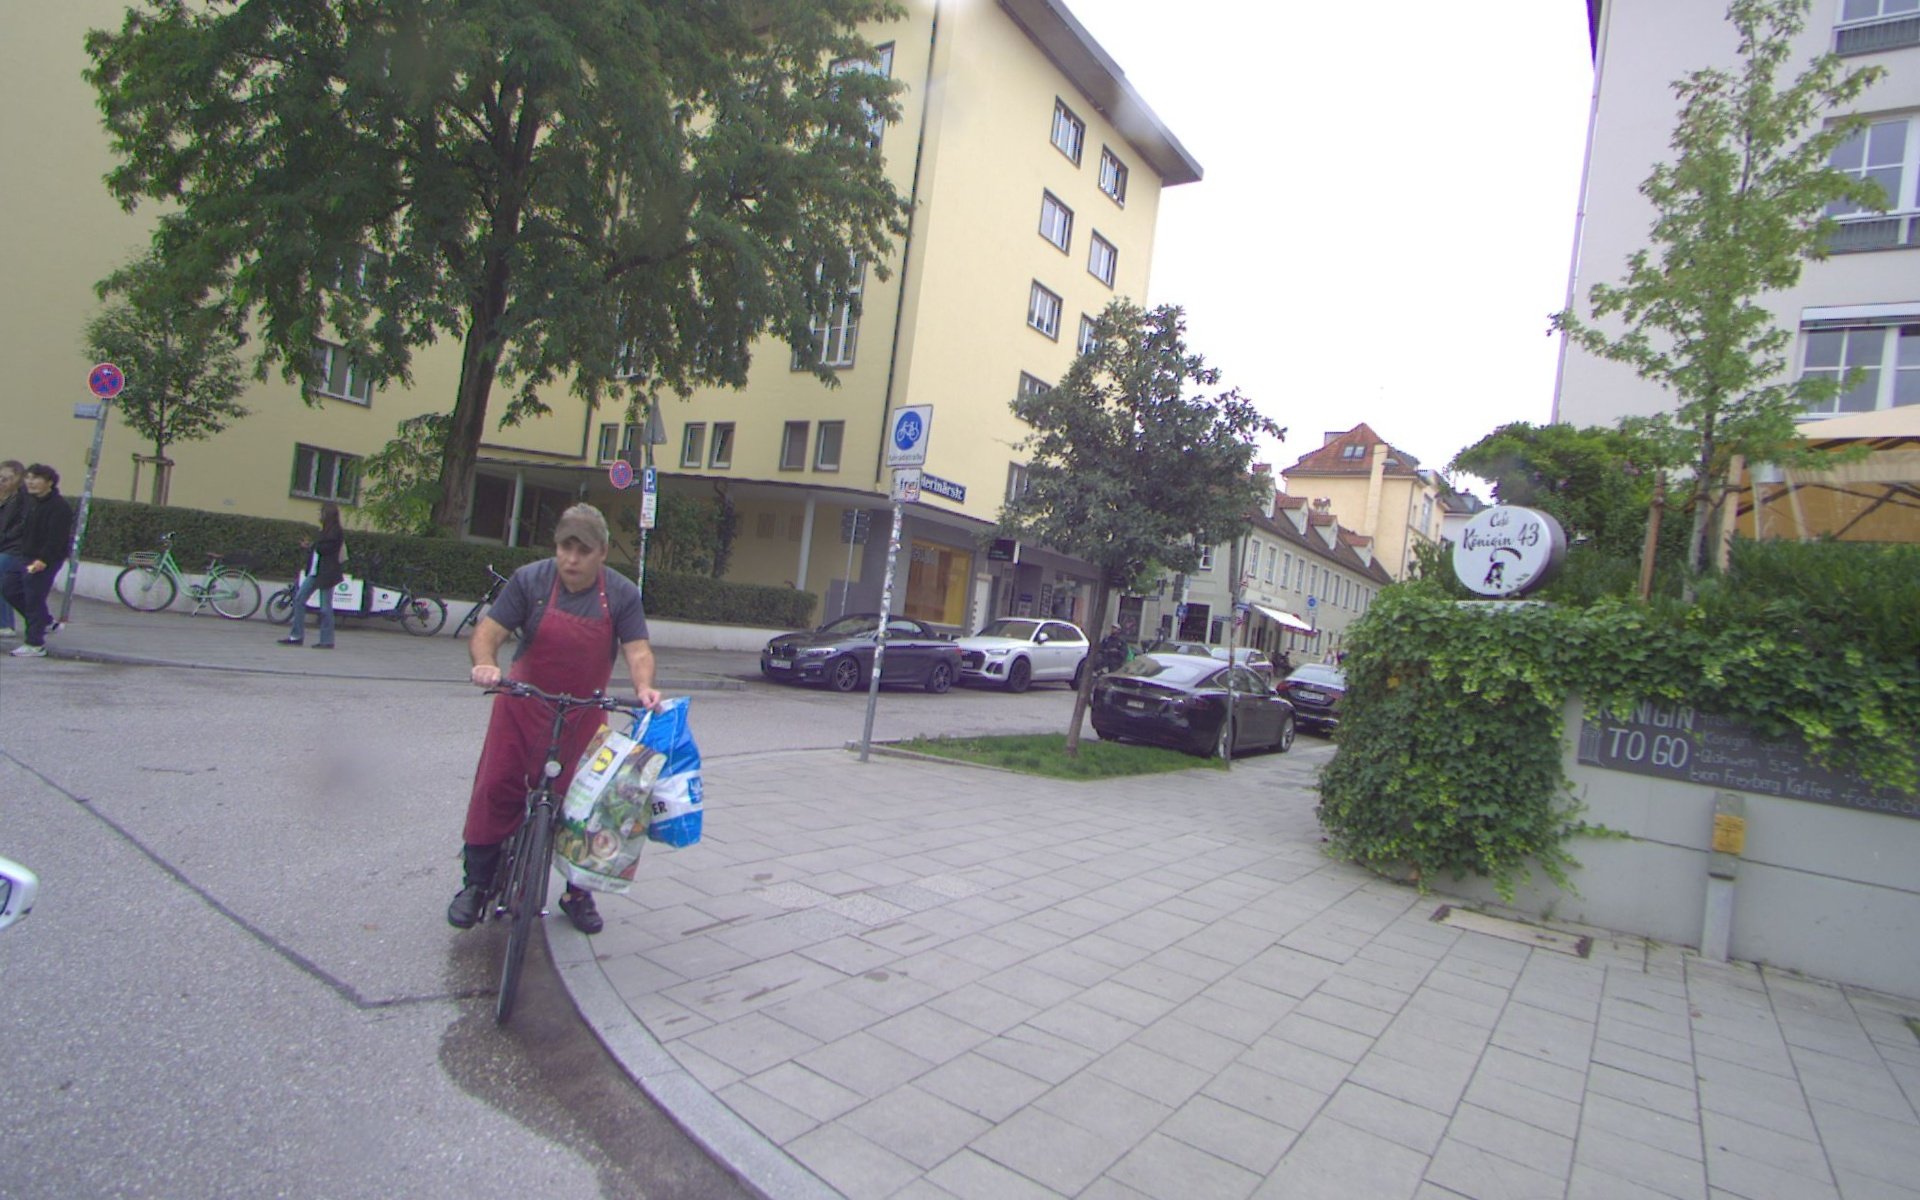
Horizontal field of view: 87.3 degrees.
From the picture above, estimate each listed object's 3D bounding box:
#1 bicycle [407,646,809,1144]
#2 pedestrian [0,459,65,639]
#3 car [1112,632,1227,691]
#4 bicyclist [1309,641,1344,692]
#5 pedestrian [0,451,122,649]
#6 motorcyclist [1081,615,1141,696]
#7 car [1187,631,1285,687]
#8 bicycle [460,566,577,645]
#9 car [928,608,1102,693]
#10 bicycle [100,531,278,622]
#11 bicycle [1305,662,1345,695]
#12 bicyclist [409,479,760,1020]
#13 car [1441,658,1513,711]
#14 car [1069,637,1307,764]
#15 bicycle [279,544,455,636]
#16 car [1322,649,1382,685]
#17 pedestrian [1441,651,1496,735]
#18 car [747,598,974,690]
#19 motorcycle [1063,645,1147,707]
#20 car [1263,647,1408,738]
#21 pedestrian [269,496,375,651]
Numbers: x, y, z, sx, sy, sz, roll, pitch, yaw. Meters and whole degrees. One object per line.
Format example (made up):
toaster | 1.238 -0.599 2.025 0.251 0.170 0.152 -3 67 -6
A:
bicycle | -1.420 0.825 3.654 0.870 1.032 2.173 7 0 -31
pedestrian | -9.806 -0.542 10.305 0.823 1.768 0.732 6 1 -43
car | 6.390 1.887 30.456 1.798 1.417 3.987 7 0 36
bicyclist | 12.829 2.323 35.210 0.686 1.677 1.003 7 1 37
pedestrian | -9.099 -0.480 9.971 0.650 1.831 0.989 7 1 39
motorcyclist | 3.058 1.131 20.352 0.703 1.520 0.896 7 1 37
car | 9.463 2.031 34.254 1.797 1.548 3.988 7 0 36
bicycle | -7.303 0.110 16.715 0.453 1.144 1.683 7 0 35
car | 1.357 1.162 22.963 1.831 1.682 4.304 3 -1 36
bicycle | -11.035 -0.318 14.449 1.917 1.098 0.528 5 0 -11
bicycle | 12.809 2.768 35.263 0.674 1.037 1.960 7 0 37
bicyclist | -1.411 0.470 3.677 0.869 1.629 1.041 7 1 -31
car | 20.891 3.427 40.557 1.792 1.797 3.987 7 0 37
car | 3.638 1.498 15.370 1.938 1.416 4.493 7 0 34
bicycle | -8.947 -0.130 15.239 2.157 1.129 0.634 7 0 -38
car | 18.768 3.221 48.095 1.714 1.439 3.990 7 0 34
pedestrian | 11.354 2.075 22.461 0.776 1.735 0.829 7 1 36
car | -1.714 0.878 18.722 1.638 1.383 4.319 4 -3 37
motorcycle | 2.955 1.549 20.320 0.707 1.112 1.971 7 0 37
car | 8.060 1.961 21.385 1.697 1.548 3.987 7 0 37
pedestrian | -8.208 -0.330 12.941 0.756 1.881 0.849 7 2 40
